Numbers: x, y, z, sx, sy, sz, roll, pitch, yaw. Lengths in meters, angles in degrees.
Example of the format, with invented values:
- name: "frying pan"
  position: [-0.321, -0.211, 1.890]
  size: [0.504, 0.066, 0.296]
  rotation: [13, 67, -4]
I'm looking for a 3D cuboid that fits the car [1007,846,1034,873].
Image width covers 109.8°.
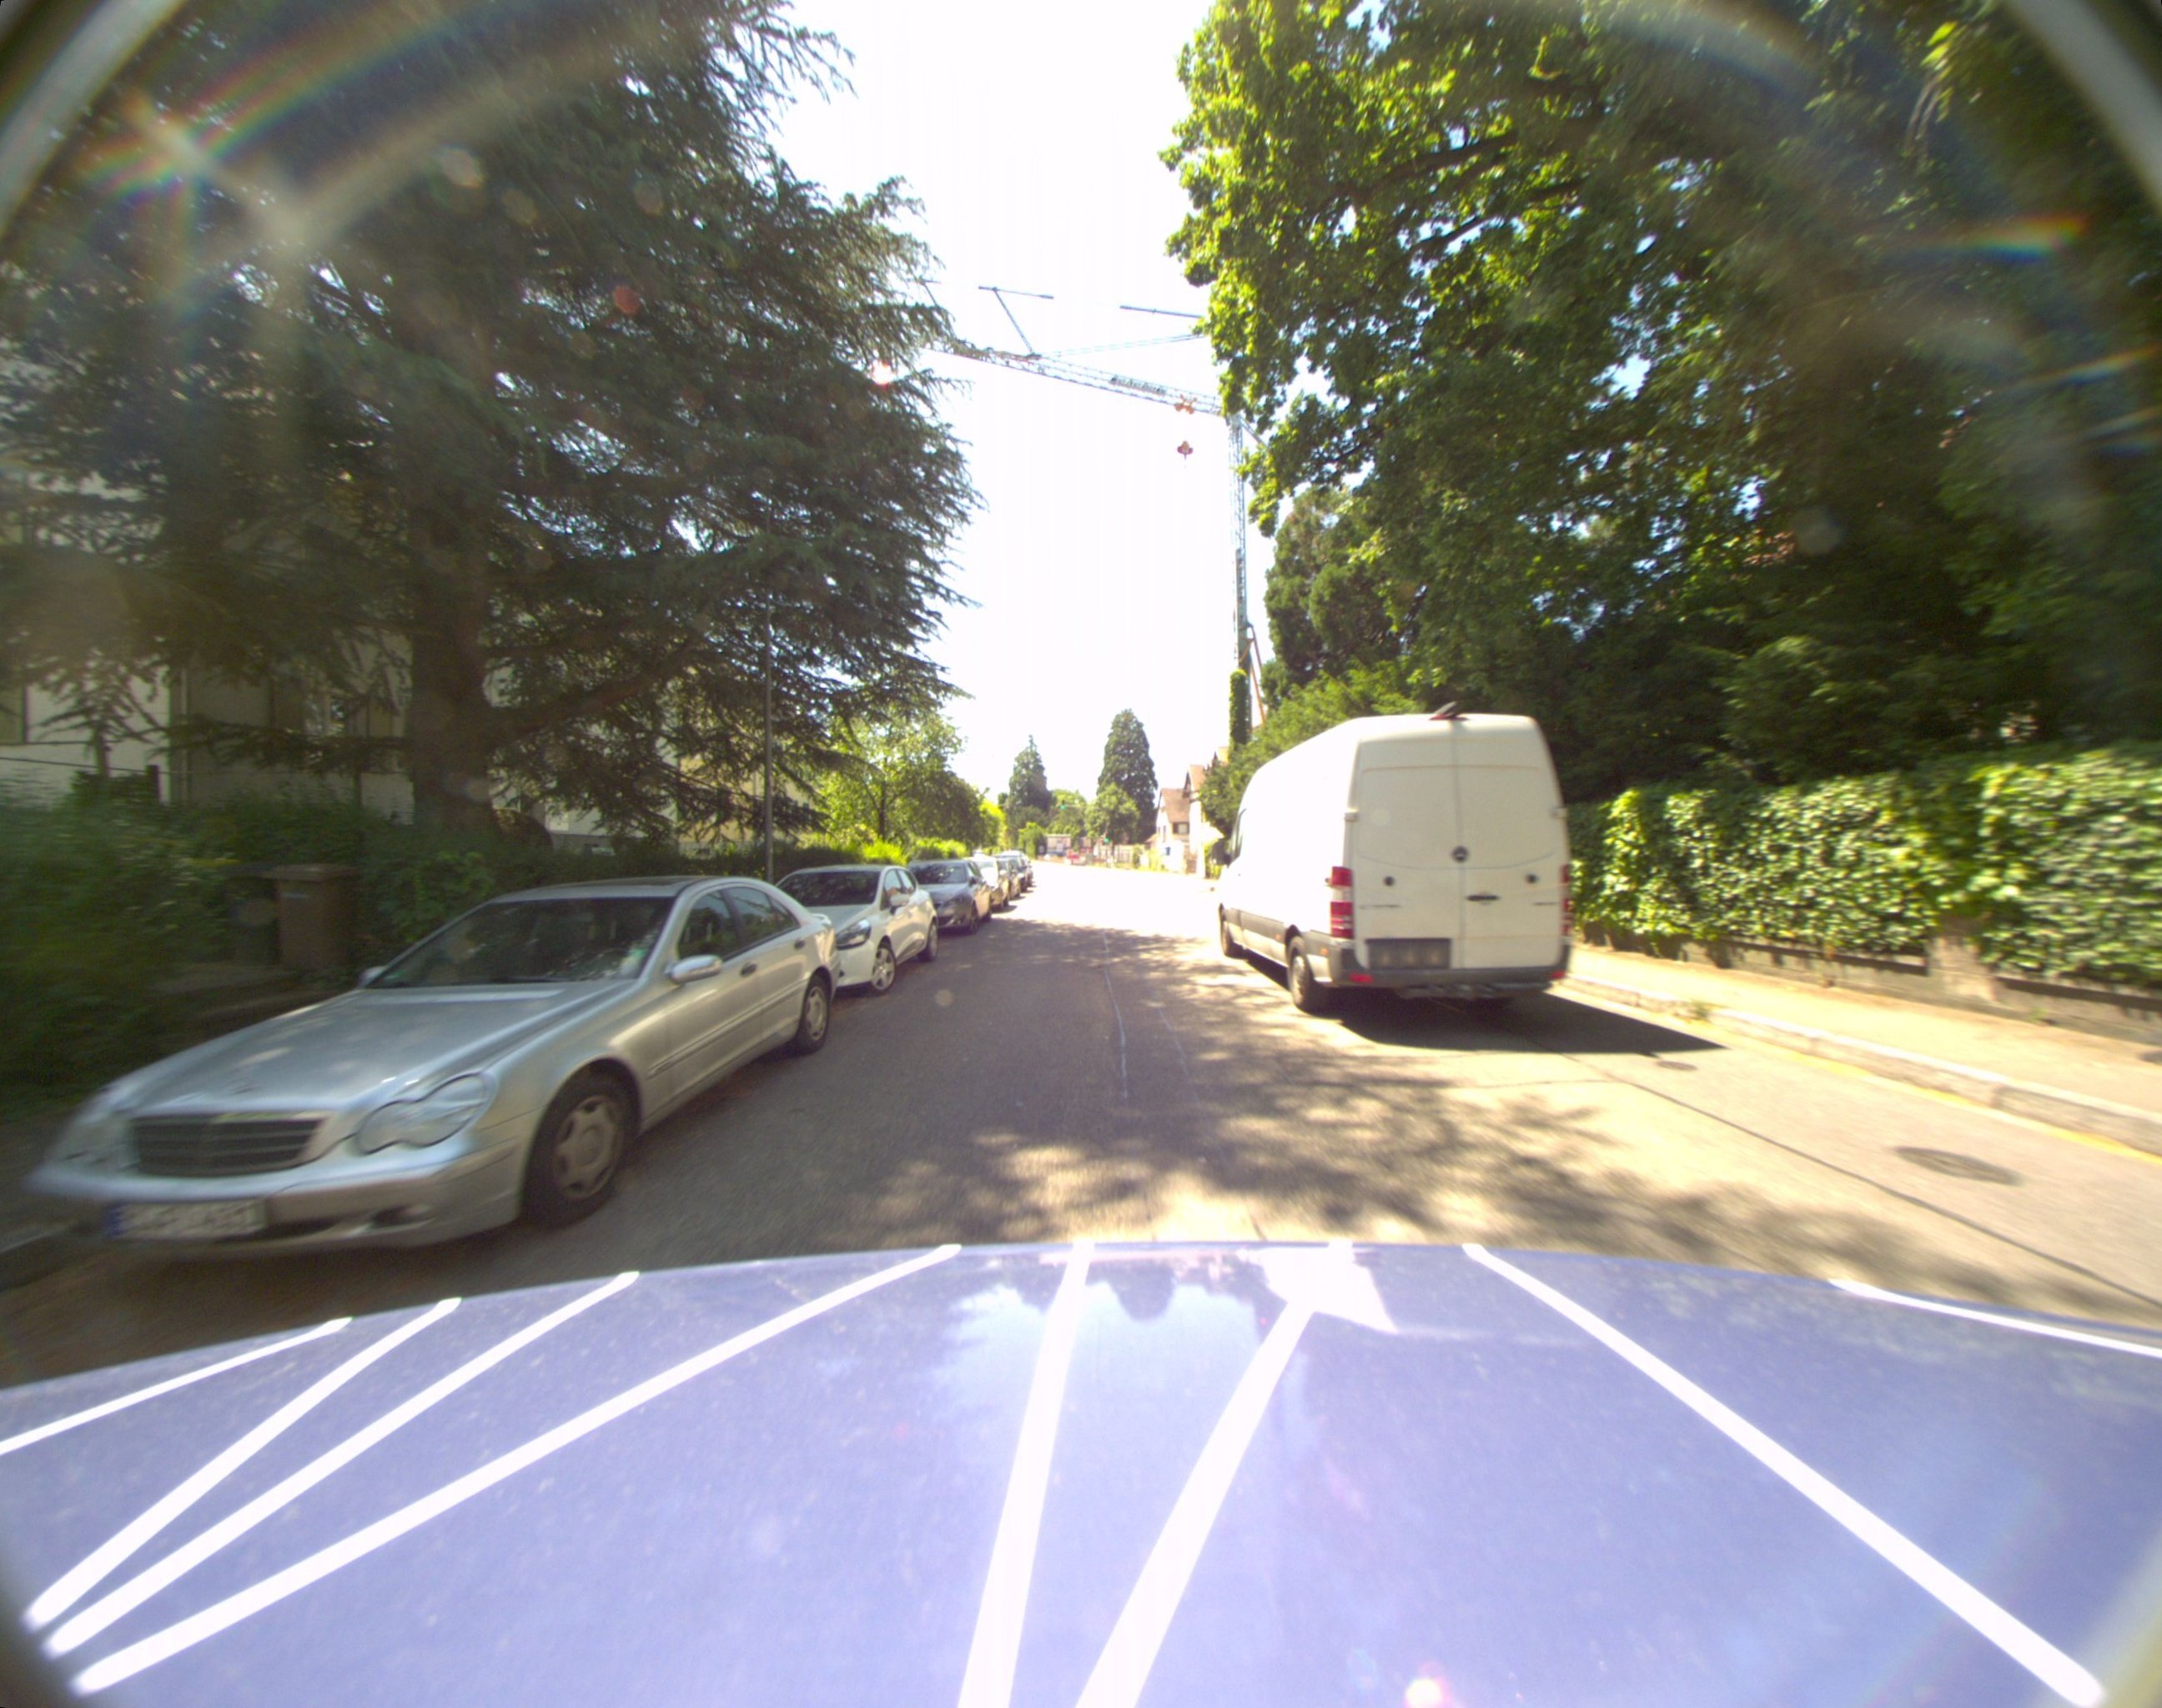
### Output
- name: "car"
  position: [-4.470, 0.366, 55.426]
  size: [1.667, 1.793, 4.199]
  rotation: [-4, 1, -7]

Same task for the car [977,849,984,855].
- name: "car"
  position: [-25.544, -0.534, 193.510]
  size: [1.658, 1.553, 3.881]
  rotation: [0, 1, -9]

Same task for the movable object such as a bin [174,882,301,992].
- name: "movable object such as a bin"
  position: [-7.397, 0.711, 6.683]
  size: [0.513, 0.898, 0.537]
  rotation: [1, 1, -1]

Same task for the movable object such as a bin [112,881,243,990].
- name: "movable object such as a bin"
  position: [-7.983, 0.705, 6.733]
  size: [0.513, 0.898, 0.537]
  rotation: [1, 1, -1]

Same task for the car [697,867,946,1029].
- name: "car"
  position: [-2.928, 0.968, 9.543]
  size: [1.618, 1.461, 4.064]
  rotation: [-2, 0, 1]

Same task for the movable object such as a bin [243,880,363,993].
- name: "movable object such as a bin"
  position: [-6.849, 0.707, 6.710]
  size: [0.513, 0.936, 0.537]
  rotation: [1, 1, -1]

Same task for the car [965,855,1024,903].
- name: "car"
  position: [-2.973, 0.861, 26.736]
  size: [1.586, 1.434, 4.008]
  rotation: [-5, -1, -1]

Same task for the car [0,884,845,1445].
- name: "car"
  position: [-2.886, 1.020, 4.371]
  size: [1.618, 1.388, 4.258]
  rotation: [-3, 1, 1]

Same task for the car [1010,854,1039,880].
- name: "car"
  position: [-3.609, 0.768, 48.165]
  size: [1.666, 1.427, 4.126]
  rotation: [-4, 1, -5]

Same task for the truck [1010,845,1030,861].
- name: "truck"
  position: [-9.360, -0.133, 115.795]
  size: [2.135, 2.325, 6.427]
  rotation: [-1, 0, -13]

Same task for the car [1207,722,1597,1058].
- name: "car"
  position: [2.924, 0.267, 8.715]
  size: [1.998, 2.518, 5.894]
  rotation: [-1, 0, 0]

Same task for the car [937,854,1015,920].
- name: "car"
  position: [-2.878, 0.855, 21.521]
  size: [1.619, 1.504, 4.063]
  rotation: [-5, 1, -1]

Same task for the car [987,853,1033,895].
- name: "car"
  position: [-2.888, 0.786, 31.431]
  size: [1.586, 1.566, 4.007]
  rotation: [-2, 0, -2]

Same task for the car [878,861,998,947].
- name: "car"
  position: [-2.807, 0.924, 15.878]
  size: [1.618, 1.442, 4.374]
  rotation: [-2, 0, 0]

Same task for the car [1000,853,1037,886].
- name: "car"
  position: [-3.058, 0.706, 37.001]
  size: [1.666, 1.423, 4.201]
  rotation: [-2, 1, -5]
